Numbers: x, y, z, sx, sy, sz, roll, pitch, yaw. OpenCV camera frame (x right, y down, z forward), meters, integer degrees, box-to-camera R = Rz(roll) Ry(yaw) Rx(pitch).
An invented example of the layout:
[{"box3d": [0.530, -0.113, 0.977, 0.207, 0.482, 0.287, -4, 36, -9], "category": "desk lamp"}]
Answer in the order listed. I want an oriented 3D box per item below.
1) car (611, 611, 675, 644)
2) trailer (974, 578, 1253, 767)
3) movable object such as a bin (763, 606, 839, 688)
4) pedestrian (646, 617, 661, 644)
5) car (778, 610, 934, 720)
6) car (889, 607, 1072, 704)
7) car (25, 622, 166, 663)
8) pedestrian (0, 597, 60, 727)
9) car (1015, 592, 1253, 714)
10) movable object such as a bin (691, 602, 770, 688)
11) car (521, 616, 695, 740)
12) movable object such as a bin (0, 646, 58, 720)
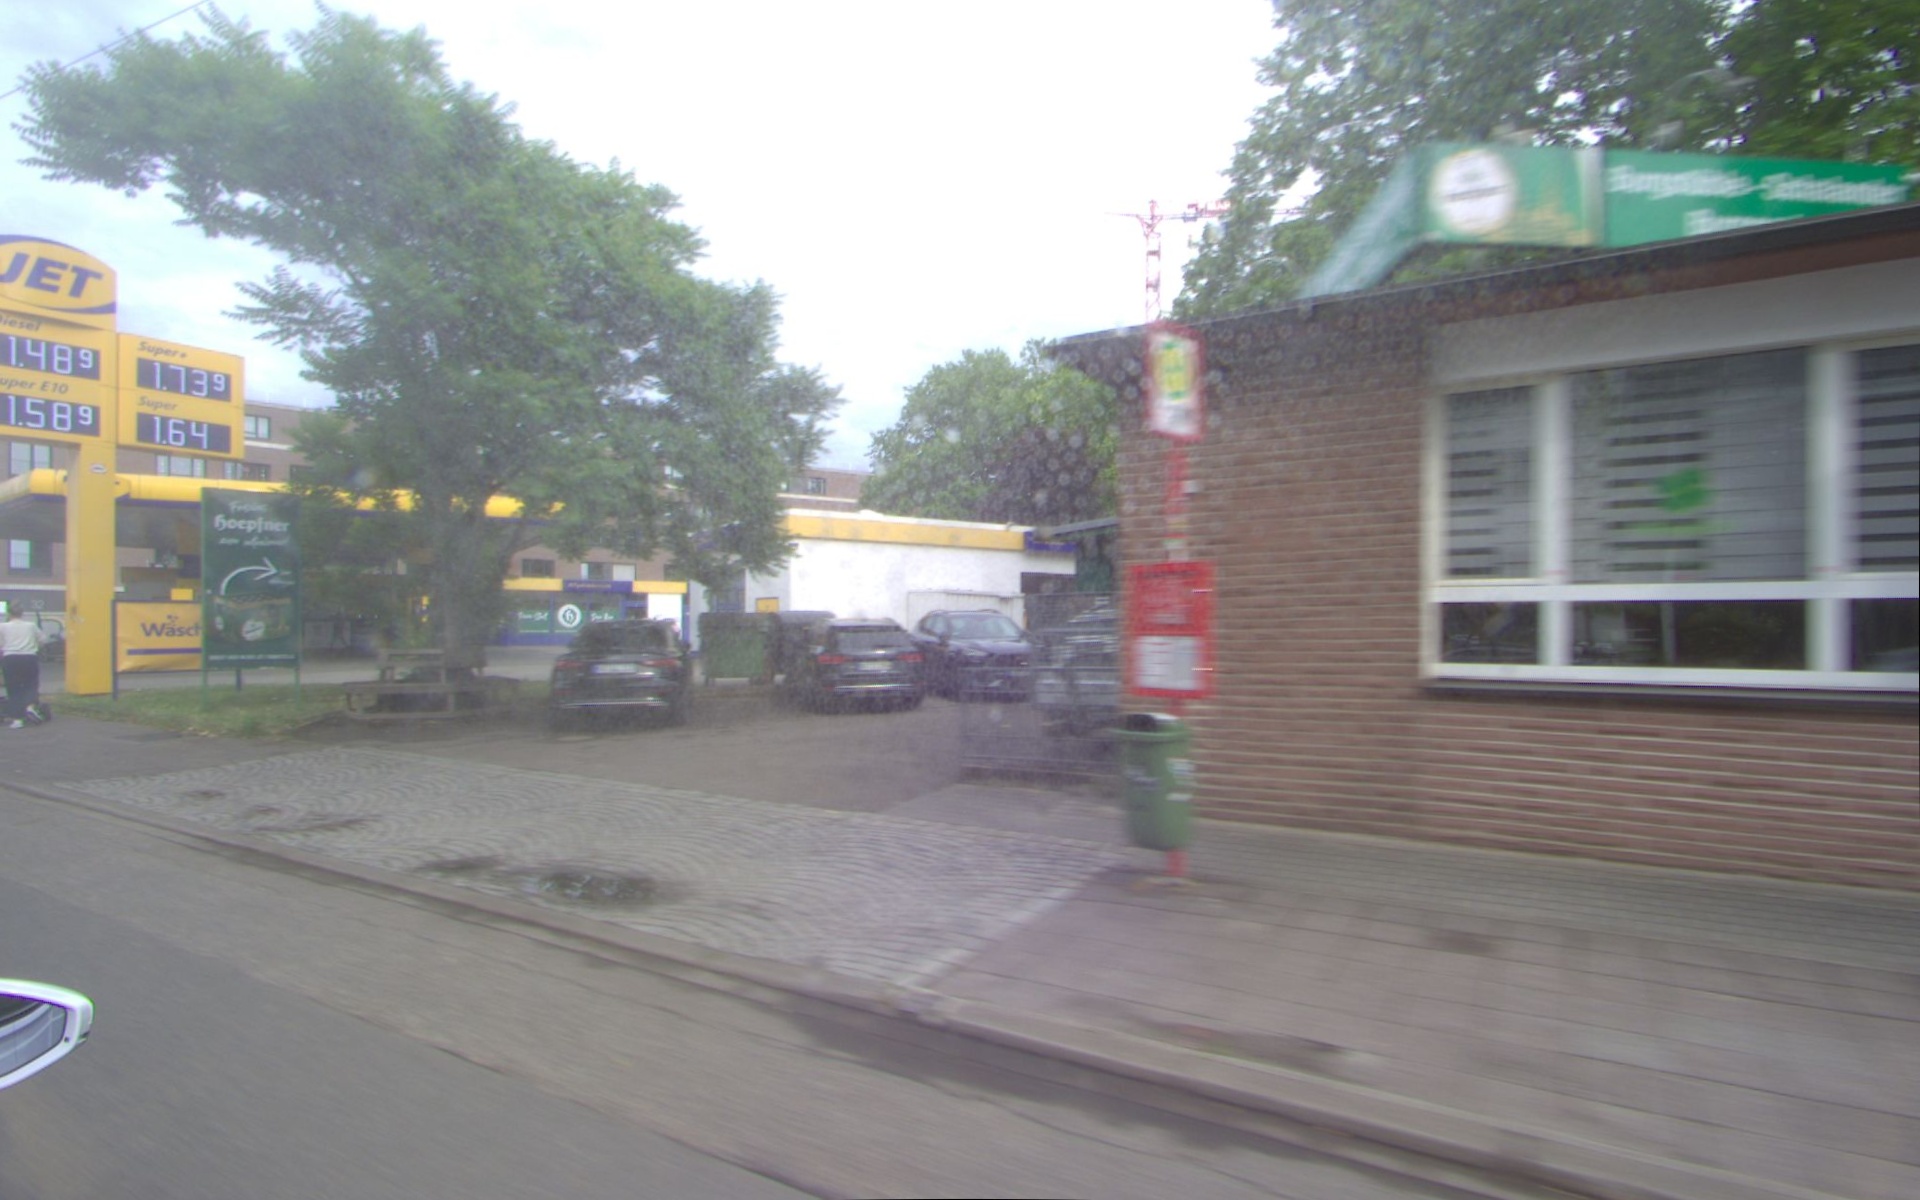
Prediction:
[{"box3d": [-16.846, 1.510, 53.098, 1.818, 1.658, 4.447, 2, -3, -37], "category": "car"}, {"box3d": [1.657, 0.650, 10.027, 1.598, 1.558, 3.155, -1, -2, 33], "category": "trailer"}, {"box3d": [-3.119, 0.903, 19.567, 1.272, 1.510, 1.121, 2, 1, -17], "category": "movable object such as a bin"}, {"box3d": [-15.615, 1.546, 51.008, 0.573, 1.363, 0.608, 2, -3, -33], "category": "pedestrian"}, {"box3d": [-1.877, 0.949, 16.596, 1.844, 1.446, 4.534, -2, 1, -15], "category": "car"}, {"box3d": [0.202, 0.909, 18.269, 1.951, 1.478, 4.480, 0, 0, -18], "category": "car"}, {"box3d": [-32.531, 1.576, 37.688, 4.801, 1.446, 1.949, 0, -1, 20], "category": "car"}, {"box3d": [-13.702, 0.876, 14.629, 0.762, 1.821, 1.151, -2, 1, -43], "category": "pedestrian"}, {"box3d": [2.931, 0.798, 16.059, 1.966, 1.667, 4.409, -1, -2, 37], "category": "car"}, {"box3d": [-4.419, 0.851, 19.210, 1.397, 1.535, 1.121, 1, 3, -16], "category": "movable object such as a bin"}, {"box3d": [-4.872, 0.978, 14.480, 1.900, 1.426, 4.578, 0, 0, -13], "category": "car"}, {"box3d": [-14.385, 1.262, 15.374, 0.762, 1.053, 1.014, -2, 1, -43], "category": "movable object such as a bin"}]
